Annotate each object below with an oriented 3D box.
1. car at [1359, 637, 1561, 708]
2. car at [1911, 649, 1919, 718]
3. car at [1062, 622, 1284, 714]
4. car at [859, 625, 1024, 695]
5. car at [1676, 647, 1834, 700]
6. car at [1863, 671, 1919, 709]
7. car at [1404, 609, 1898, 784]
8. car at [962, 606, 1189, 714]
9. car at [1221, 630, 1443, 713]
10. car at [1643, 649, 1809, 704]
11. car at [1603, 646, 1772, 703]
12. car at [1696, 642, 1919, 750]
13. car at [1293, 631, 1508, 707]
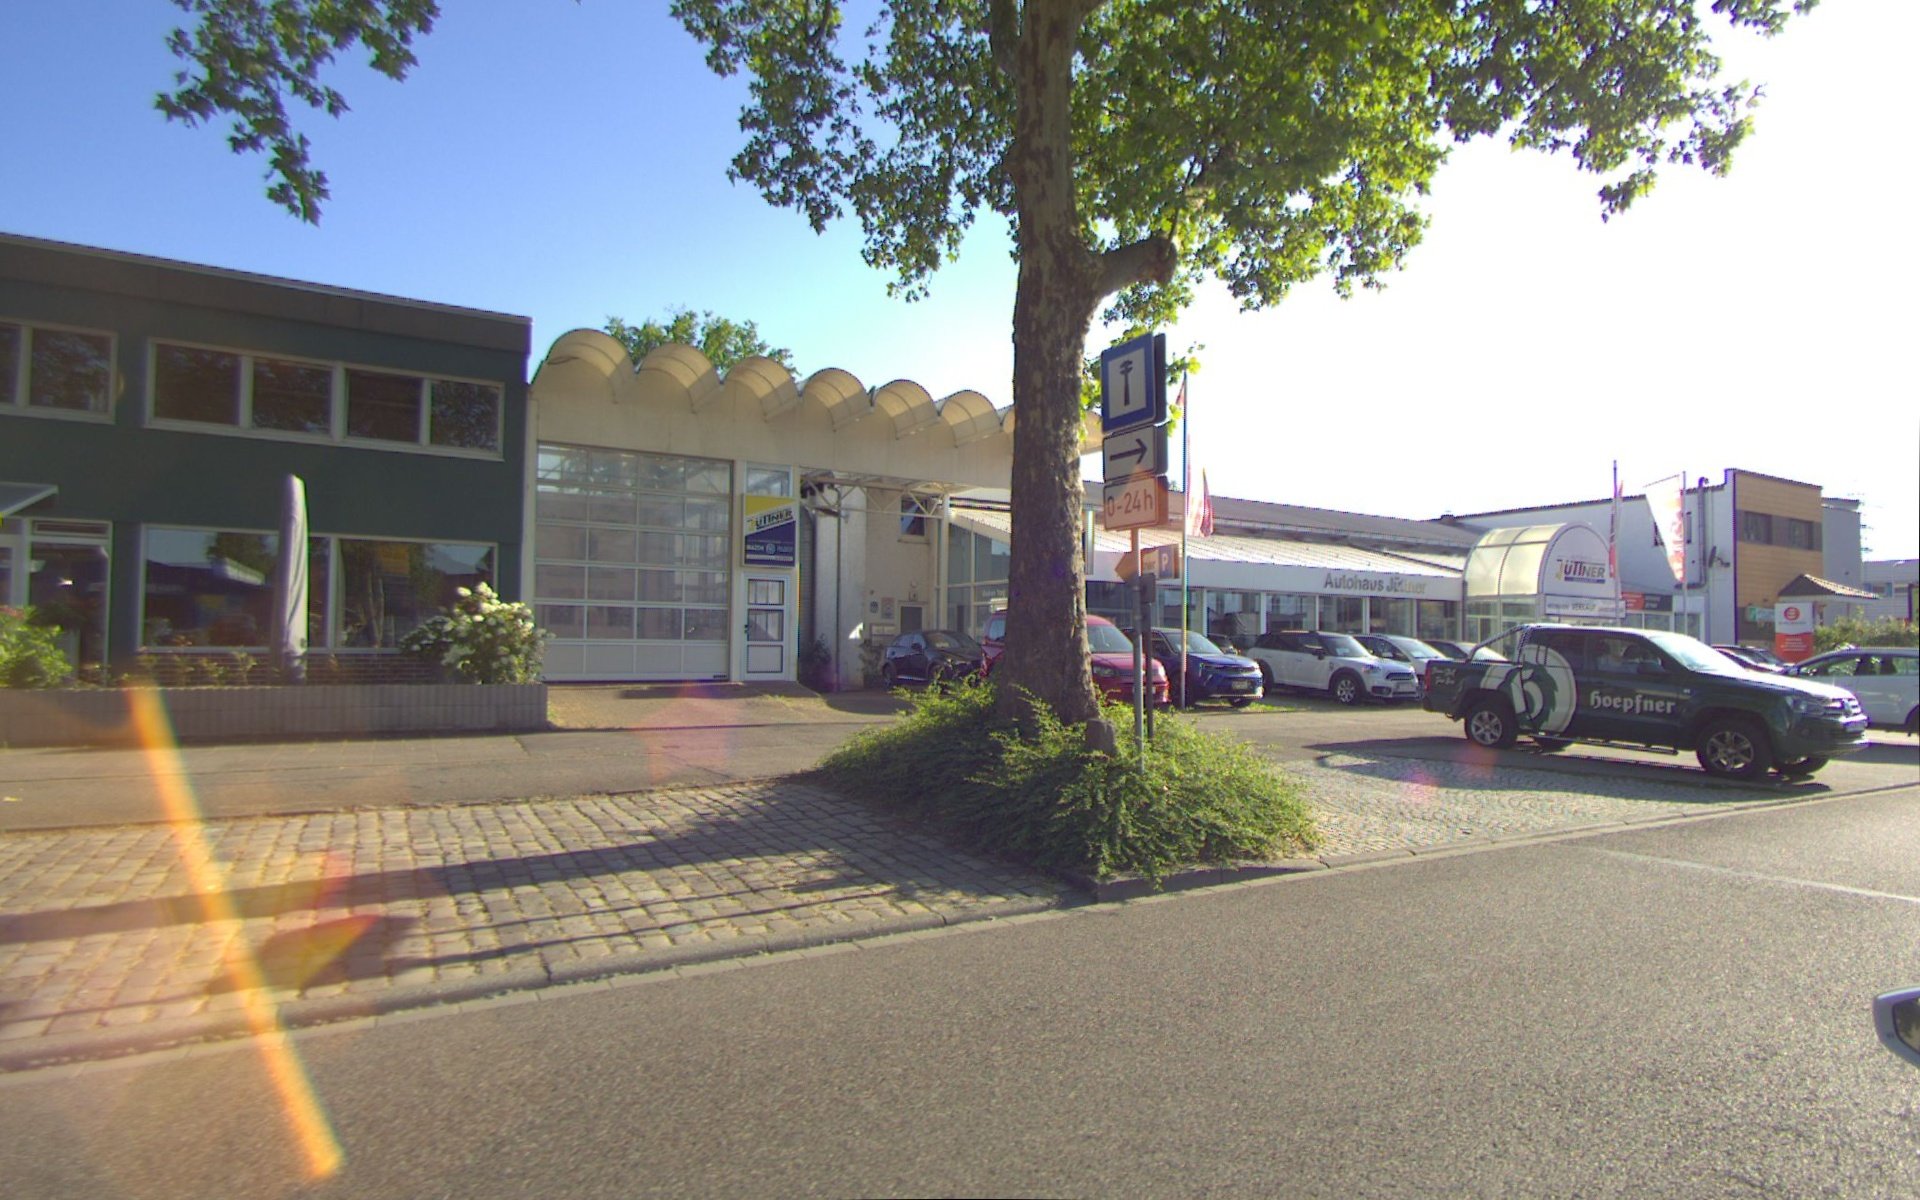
[{"bbox_3d":[12.910,1.834,26.224,1.815,1.573,4.441,3,-2,-31],"label":"car"},{"bbox_3d":[25.329,2.083,23.394,2.178,1.677,4.208,3,-2,-32],"label":"car"},{"bbox_3d":[4.390,1.373,21.510,1.977,1.655,4.690,3,-2,-31],"label":"car"},{"bbox_3d":[-0.570,1.506,24.644,1.977,1.535,4.724,3,-5,-31],"label":"car"},{"bbox_3d":[27.486,2.511,34.852,1.865,1.576,3.893,3,-2,-29],"label":"car"},{"bbox_3d":[47.039,4.427,49.919,4.288,1.598,1.984,0,0,-30],"label":"car"},{"bbox_3d":[9.173,1.144,13.950,2.176,1.923,5.235,3,-2,-29],"label":"car"},{"bbox_3d":[2.118,1.097,19.844,1.977,1.843,4.722,3,-2,-31],"label":"car"},{"bbox_3d":[8.604,1.612,23.683,1.977,1.664,4.695,3,-2,-31],"label":"car"},{"bbox_3d":[25.450,2.505,33.516,1.976,1.576,3.969,3,-2,-29],"label":"car"},{"bbox_3d":[23.305,2.347,32.320,1.976,1.576,3.969,3,-2,-29],"label":"car"},{"bbox_3d":[16.176,1.695,18.052,2.178,1.677,4.279,3,-2,-32],"label":"car"},{"bbox_3d":[10.777,1.649,24.945,1.907,1.613,4.638,3,-2,-31],"label":"car"}]
